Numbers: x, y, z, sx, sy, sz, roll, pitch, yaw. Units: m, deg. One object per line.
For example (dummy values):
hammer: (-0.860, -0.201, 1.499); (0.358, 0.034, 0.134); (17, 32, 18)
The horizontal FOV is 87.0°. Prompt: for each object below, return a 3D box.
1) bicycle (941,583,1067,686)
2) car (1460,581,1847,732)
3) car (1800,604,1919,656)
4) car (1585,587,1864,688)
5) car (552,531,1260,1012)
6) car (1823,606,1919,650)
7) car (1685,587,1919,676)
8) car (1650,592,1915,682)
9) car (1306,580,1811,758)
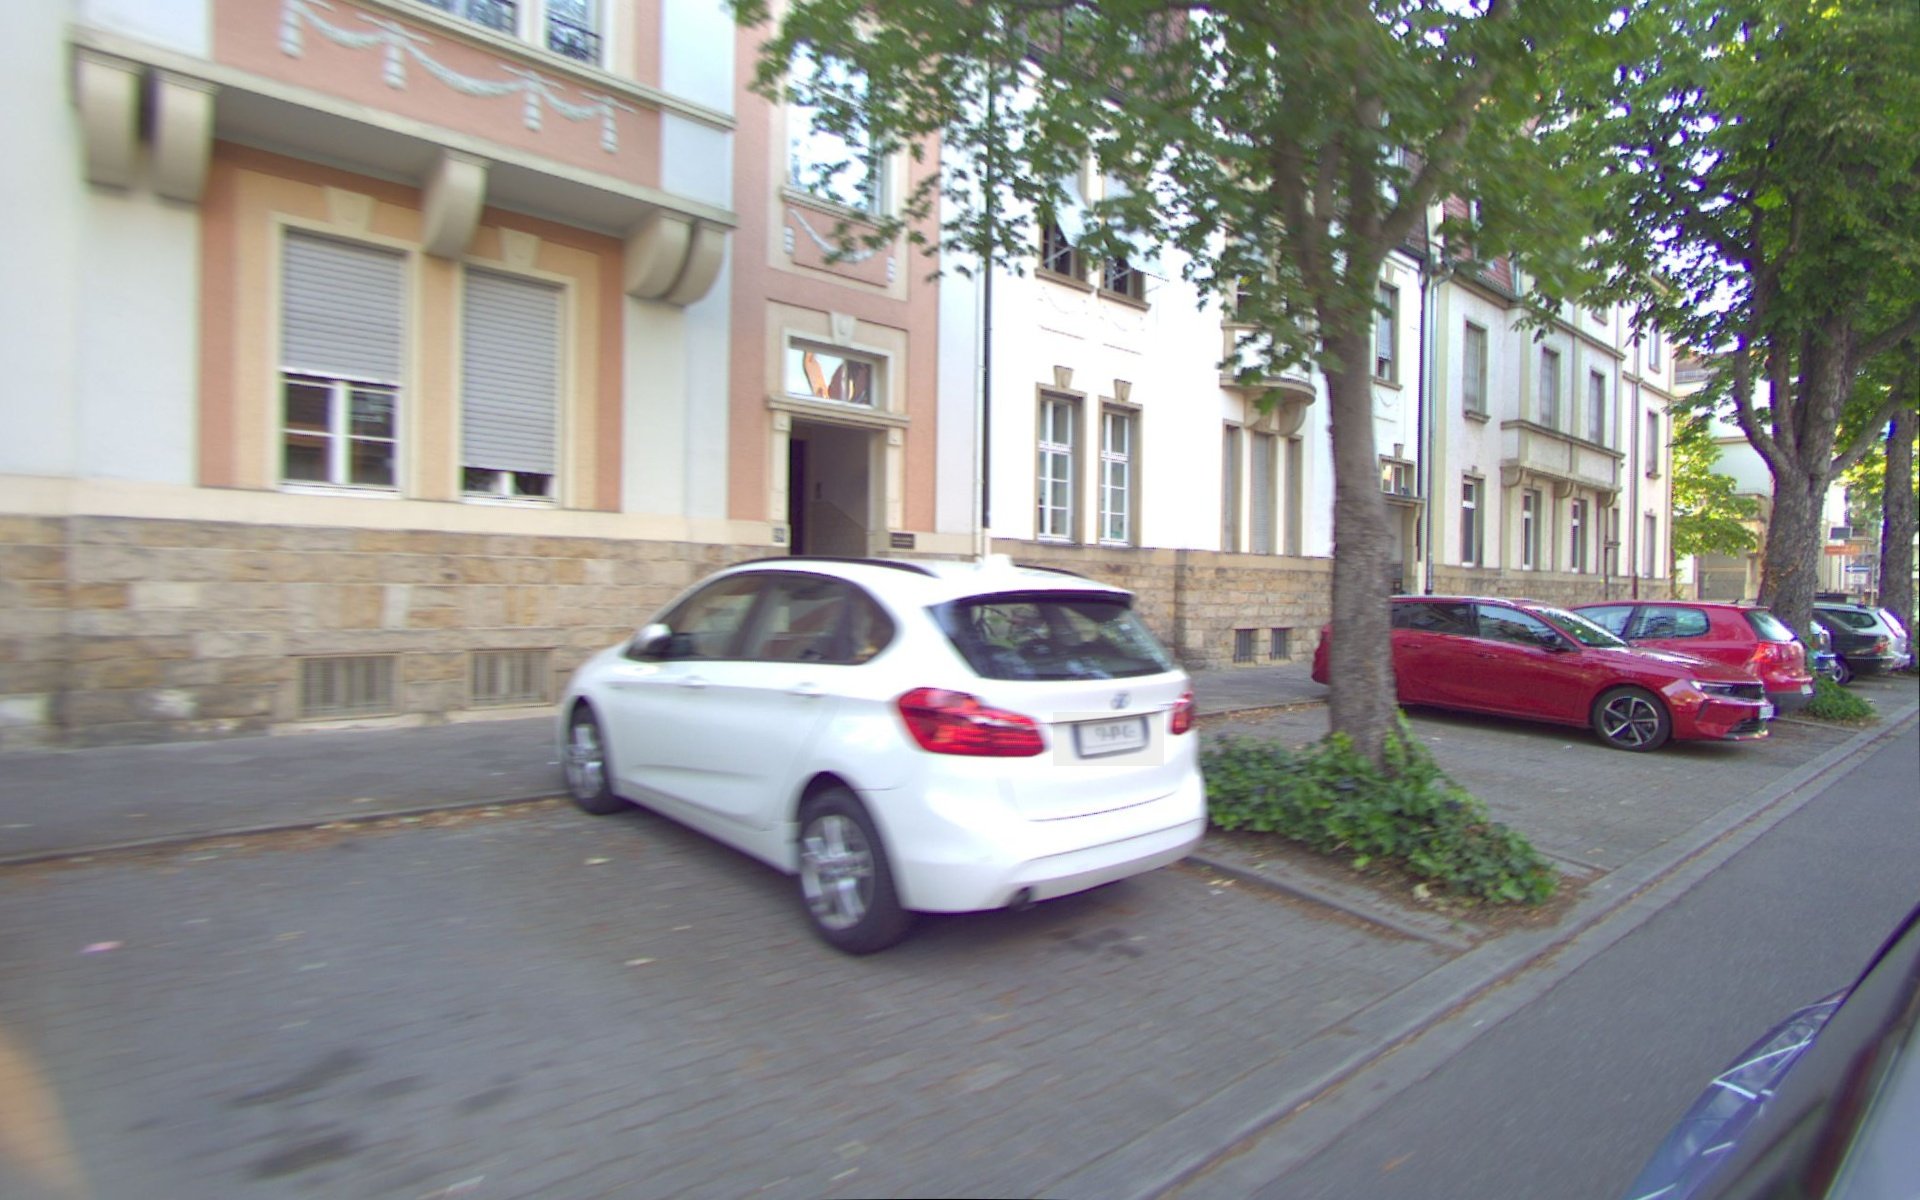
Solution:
bicycle: (0.562, 0.398, 12.525); (1.449, 1.173, 0.694); (0, 3, -41)
car: (8.547, 0.576, 12.736); (1.628, 1.499, 3.682); (0, 2, -38)
car: (23.442, 0.752, 25.406); (1.515, 1.164, 3.399); (0, 2, -39)
car: (13.441, 0.571, 17.965); (1.548, 1.484, 3.680); (0, 2, -39)
car: (-0.617, 0.486, 5.399); (1.689, 1.597, 3.947); (0, 2, -41)
car: (25.864, 0.775, 27.522); (1.515, 1.076, 3.399); (0, 2, -39)
car: (17.487, 0.573, 20.989); (1.548, 1.577, 3.680); (0, 2, -39)
car: (15.573, 0.616, 19.313); (1.548, 1.416, 3.680); (0, 2, -39)
car: (6.449, 0.585, 11.424); (1.833, 1.470, 4.533); (0, 2, -38)
